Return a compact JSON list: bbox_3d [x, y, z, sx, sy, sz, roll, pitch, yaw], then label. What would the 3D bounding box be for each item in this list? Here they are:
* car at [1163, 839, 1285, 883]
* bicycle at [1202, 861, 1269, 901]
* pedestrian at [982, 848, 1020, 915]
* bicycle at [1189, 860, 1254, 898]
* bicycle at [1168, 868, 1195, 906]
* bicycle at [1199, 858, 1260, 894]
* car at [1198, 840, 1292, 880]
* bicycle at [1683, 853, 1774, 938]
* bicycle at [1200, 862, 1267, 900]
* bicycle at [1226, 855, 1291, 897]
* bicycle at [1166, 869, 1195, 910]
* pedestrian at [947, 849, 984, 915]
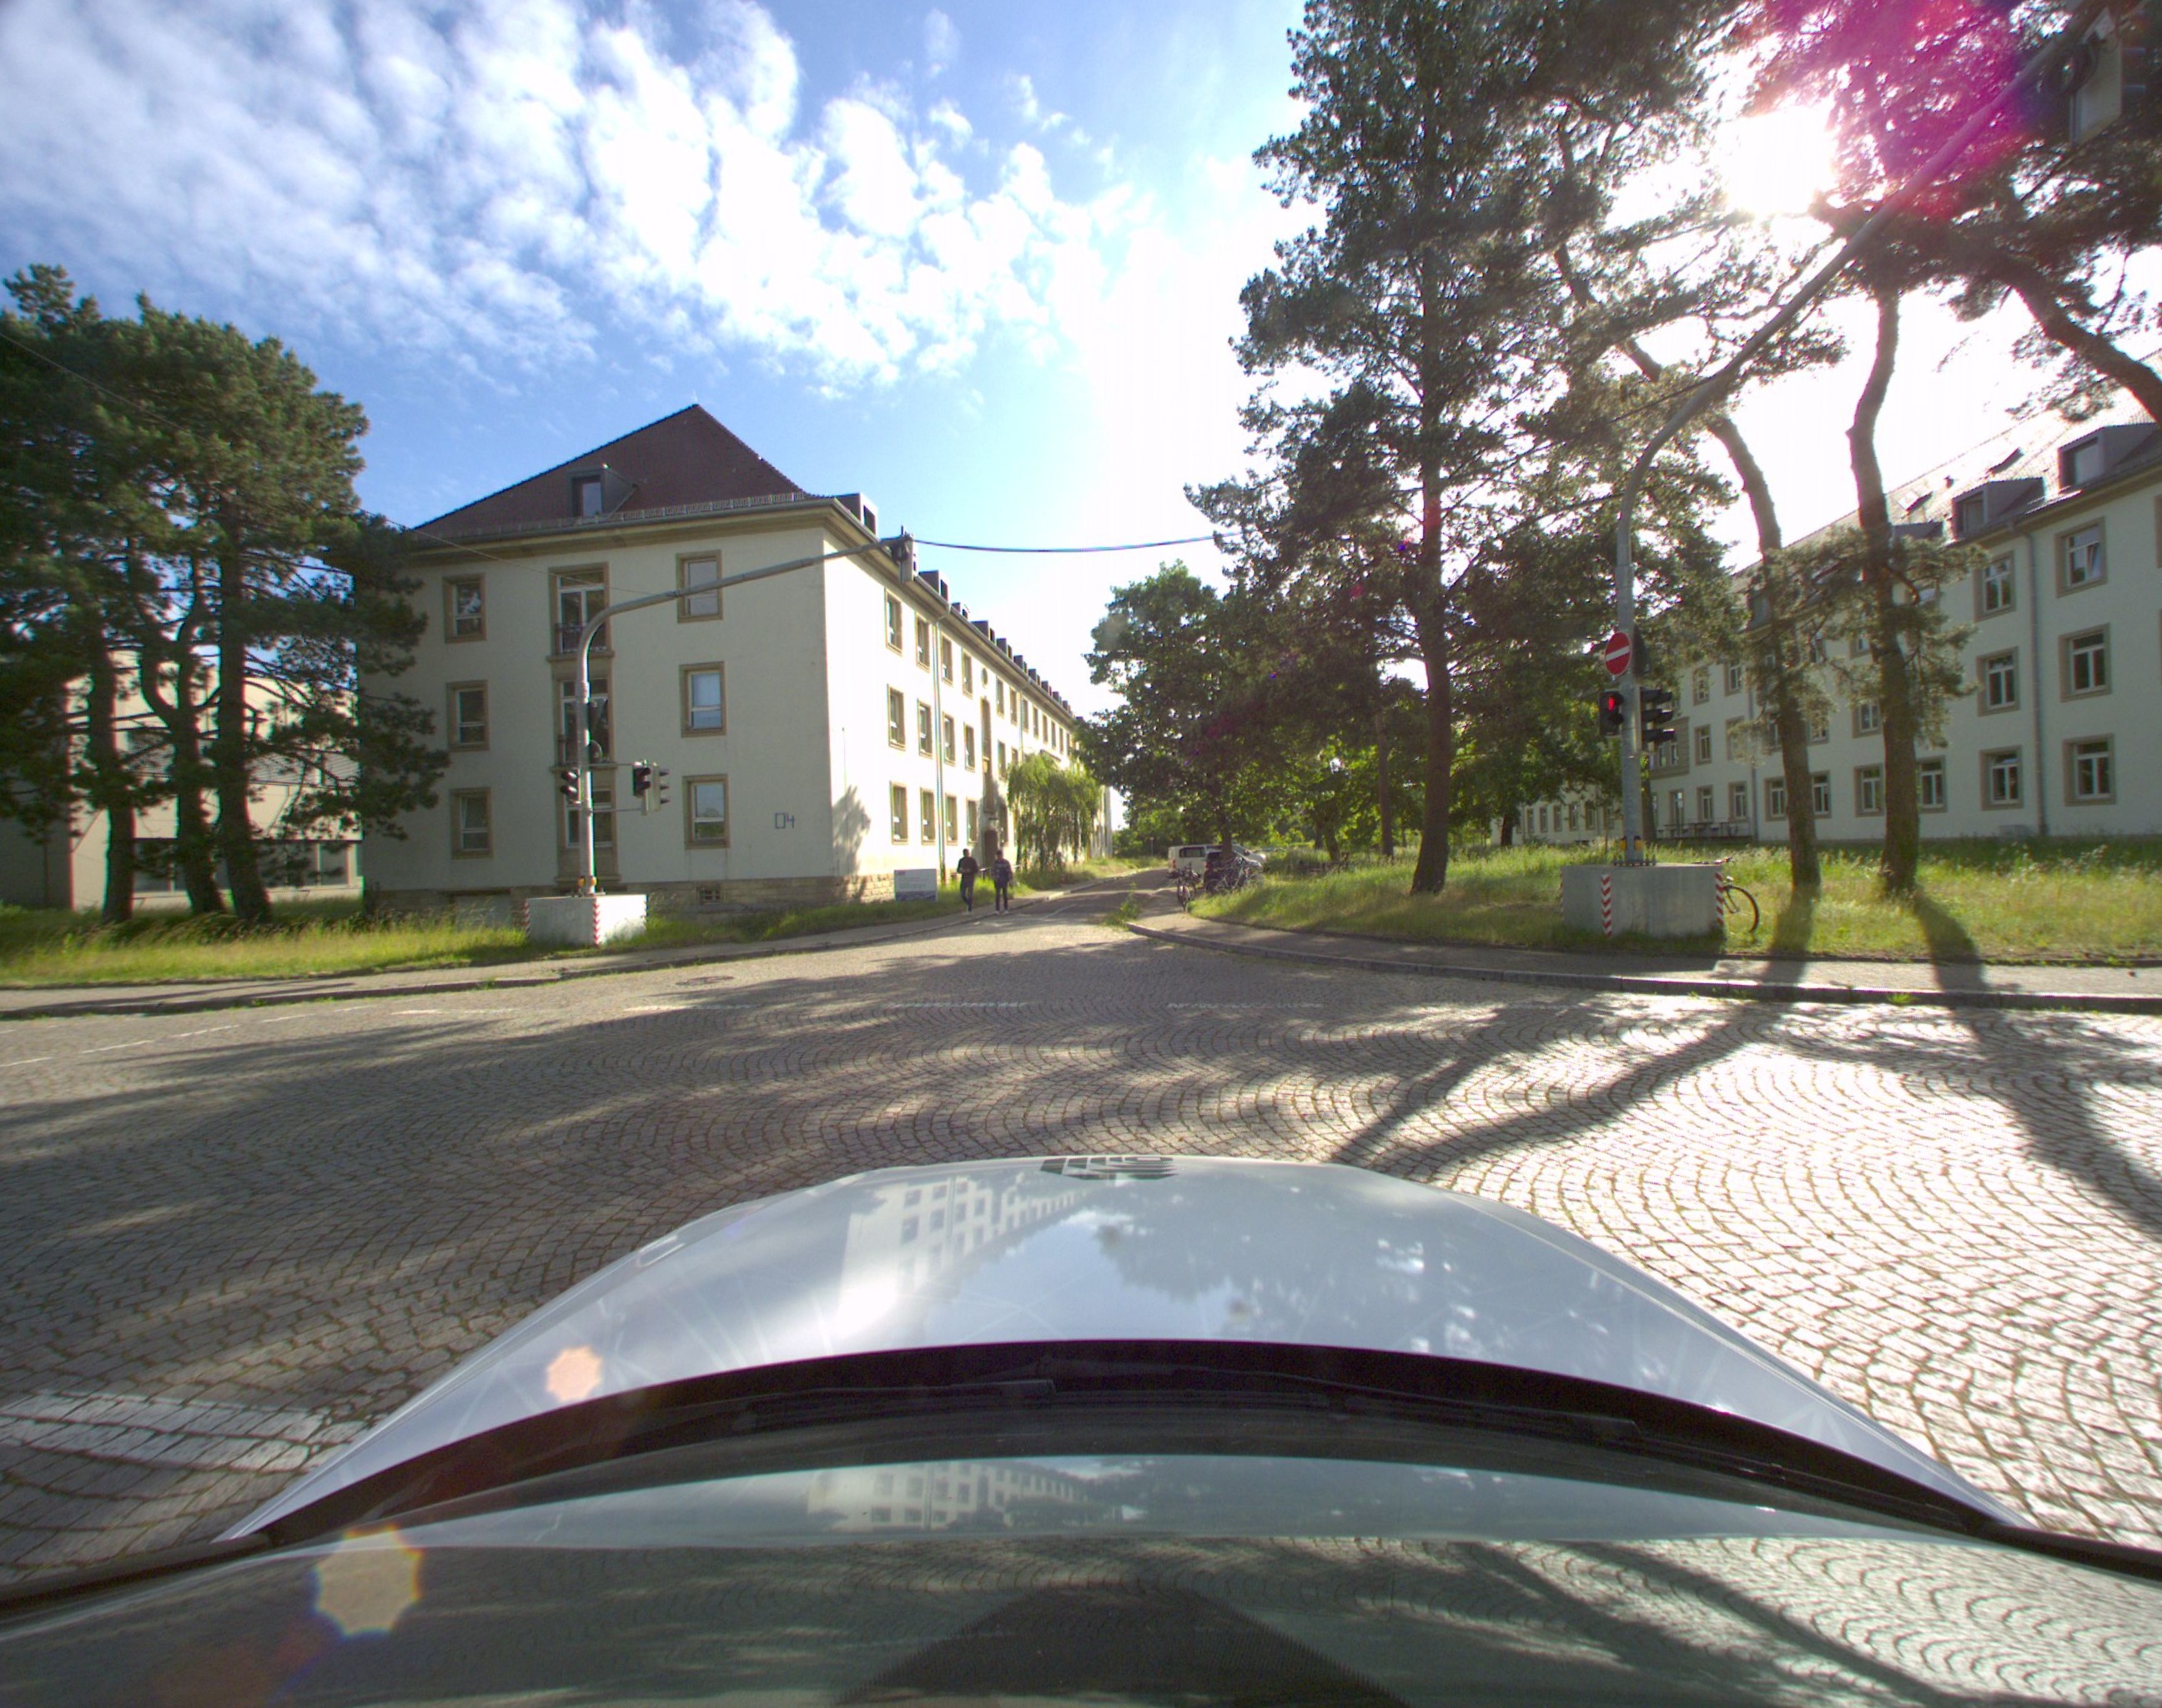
[{"bbox_3d":[7.253,0.347,41.945,5.907,2.013,2.477,-2,0,2],"label":"car"},{"bbox_3d":[4.687,0.822,24.807,1.931,1.129,0.751,-2,0,6],"label":"bicycle"},{"bbox_3d":[-2.226,0.750,22.577,0.761,1.817,0.686,-2,0,20],"label":"pedestrian"},{"bbox_3d":[4.507,0.784,26.058,1.946,1.129,0.644,-2,0,-18],"label":"bicycle"},{"bbox_3d":[2.808,0.900,22.732,0.691,0.971,1.864,-1,0,7],"label":"bicycle"},{"bbox_3d":[4.932,0.728,27.114,1.932,1.129,0.648,-2,0,4],"label":"bicycle"},{"bbox_3d":[7.488,0.273,37.510,3.972,1.684,1.848,-2,0,1],"label":"car"},{"bbox_3d":[8.746,0.532,11.041,0.462,1.080,1.178,-2,-1,13],"label":"bicycle"},{"bbox_3d":[4.479,0.784,24.027,1.845,1.031,0.751,-2,0,6],"label":"bicycle"},{"bbox_3d":[5.520,0.683,25.379,1.931,1.235,0.486,-2,0,6],"label":"bicycle"},{"bbox_3d":[2.548,0.883,20.798,0.691,0.971,1.864,-1,0,7],"label":"bicycle"},{"bbox_3d":[-3.224,0.774,22.731,0.805,1.817,0.558,-2,0,20],"label":"pedestrian"}]
